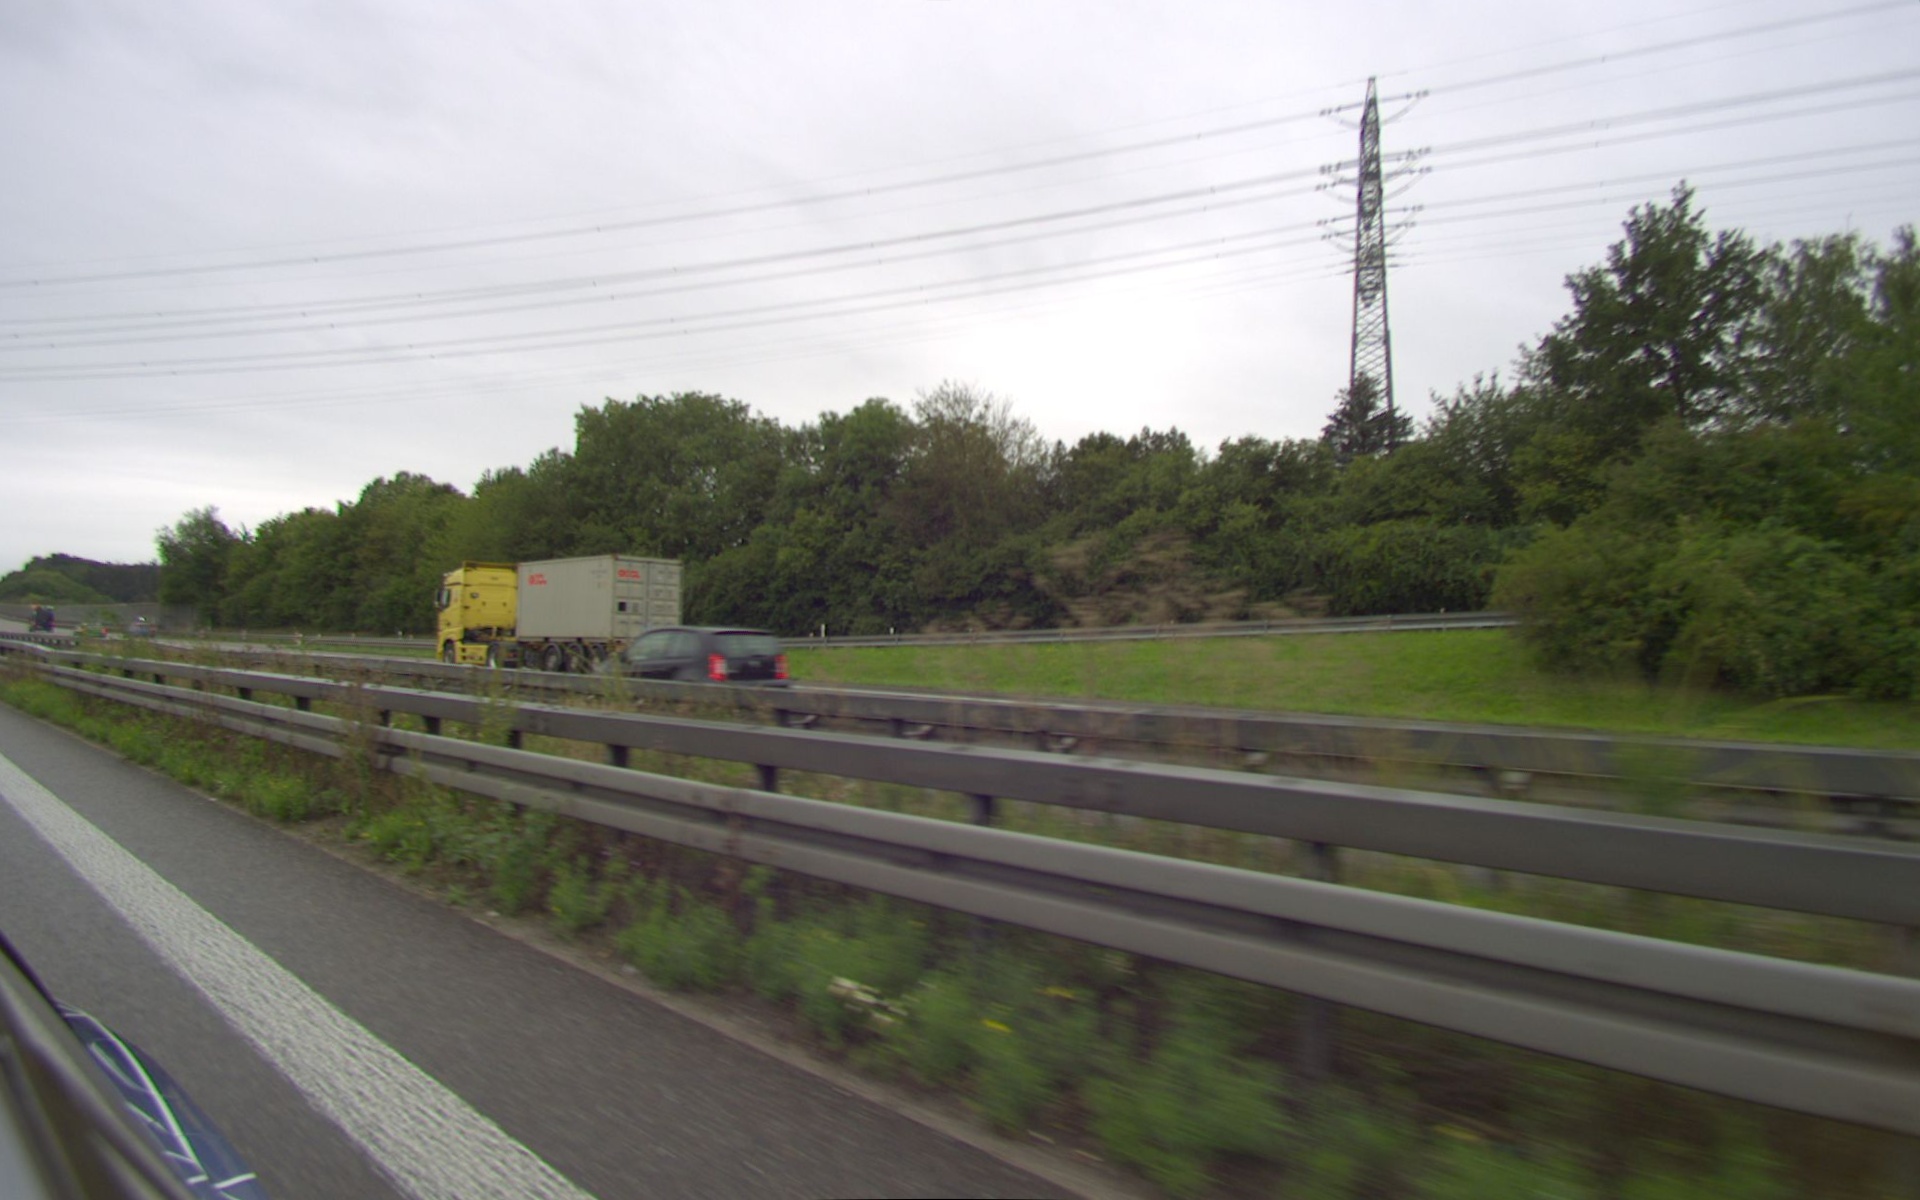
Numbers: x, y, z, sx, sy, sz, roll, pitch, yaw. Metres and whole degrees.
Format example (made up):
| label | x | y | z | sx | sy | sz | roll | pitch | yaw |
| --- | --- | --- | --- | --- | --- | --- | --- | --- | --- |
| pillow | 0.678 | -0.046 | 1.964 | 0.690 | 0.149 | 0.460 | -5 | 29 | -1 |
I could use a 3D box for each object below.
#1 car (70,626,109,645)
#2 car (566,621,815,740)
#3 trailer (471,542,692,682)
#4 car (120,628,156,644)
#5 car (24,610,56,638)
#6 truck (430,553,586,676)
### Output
| label | x | y | z | sx | sy | sz | roll | pitch | yaw |
| --- | --- | --- | --- | --- | --- | --- | --- | --- | --- |
| car | -72.222 | 2.947 | 83.938 | 4.512 | 1.505 | 1.855 | -1 | -3 | 42 |
| car | -4.119 | 1.109 | 15.154 | 3.998 | 1.554 | 1.647 | -2 | -2 | 41 |
| trailer | -12.742 | 0.495 | 33.538 | 9.195 | 4.086 | 2.733 | -1 | -4 | 41 |
| car | -83.934 | 3.645 | 103.328 | 3.993 | 1.555 | 1.949 | -1 | -2 | 37 |
| car | -114.031 | 2.934 | 125.362 | 6.173 | 3.353 | 2.230 | -1 | -3 | 42 |
| truck | -16.472 | 0.596 | 36.757 | 6.153 | 4.086 | 2.733 | -1 | -4 | 41 |
